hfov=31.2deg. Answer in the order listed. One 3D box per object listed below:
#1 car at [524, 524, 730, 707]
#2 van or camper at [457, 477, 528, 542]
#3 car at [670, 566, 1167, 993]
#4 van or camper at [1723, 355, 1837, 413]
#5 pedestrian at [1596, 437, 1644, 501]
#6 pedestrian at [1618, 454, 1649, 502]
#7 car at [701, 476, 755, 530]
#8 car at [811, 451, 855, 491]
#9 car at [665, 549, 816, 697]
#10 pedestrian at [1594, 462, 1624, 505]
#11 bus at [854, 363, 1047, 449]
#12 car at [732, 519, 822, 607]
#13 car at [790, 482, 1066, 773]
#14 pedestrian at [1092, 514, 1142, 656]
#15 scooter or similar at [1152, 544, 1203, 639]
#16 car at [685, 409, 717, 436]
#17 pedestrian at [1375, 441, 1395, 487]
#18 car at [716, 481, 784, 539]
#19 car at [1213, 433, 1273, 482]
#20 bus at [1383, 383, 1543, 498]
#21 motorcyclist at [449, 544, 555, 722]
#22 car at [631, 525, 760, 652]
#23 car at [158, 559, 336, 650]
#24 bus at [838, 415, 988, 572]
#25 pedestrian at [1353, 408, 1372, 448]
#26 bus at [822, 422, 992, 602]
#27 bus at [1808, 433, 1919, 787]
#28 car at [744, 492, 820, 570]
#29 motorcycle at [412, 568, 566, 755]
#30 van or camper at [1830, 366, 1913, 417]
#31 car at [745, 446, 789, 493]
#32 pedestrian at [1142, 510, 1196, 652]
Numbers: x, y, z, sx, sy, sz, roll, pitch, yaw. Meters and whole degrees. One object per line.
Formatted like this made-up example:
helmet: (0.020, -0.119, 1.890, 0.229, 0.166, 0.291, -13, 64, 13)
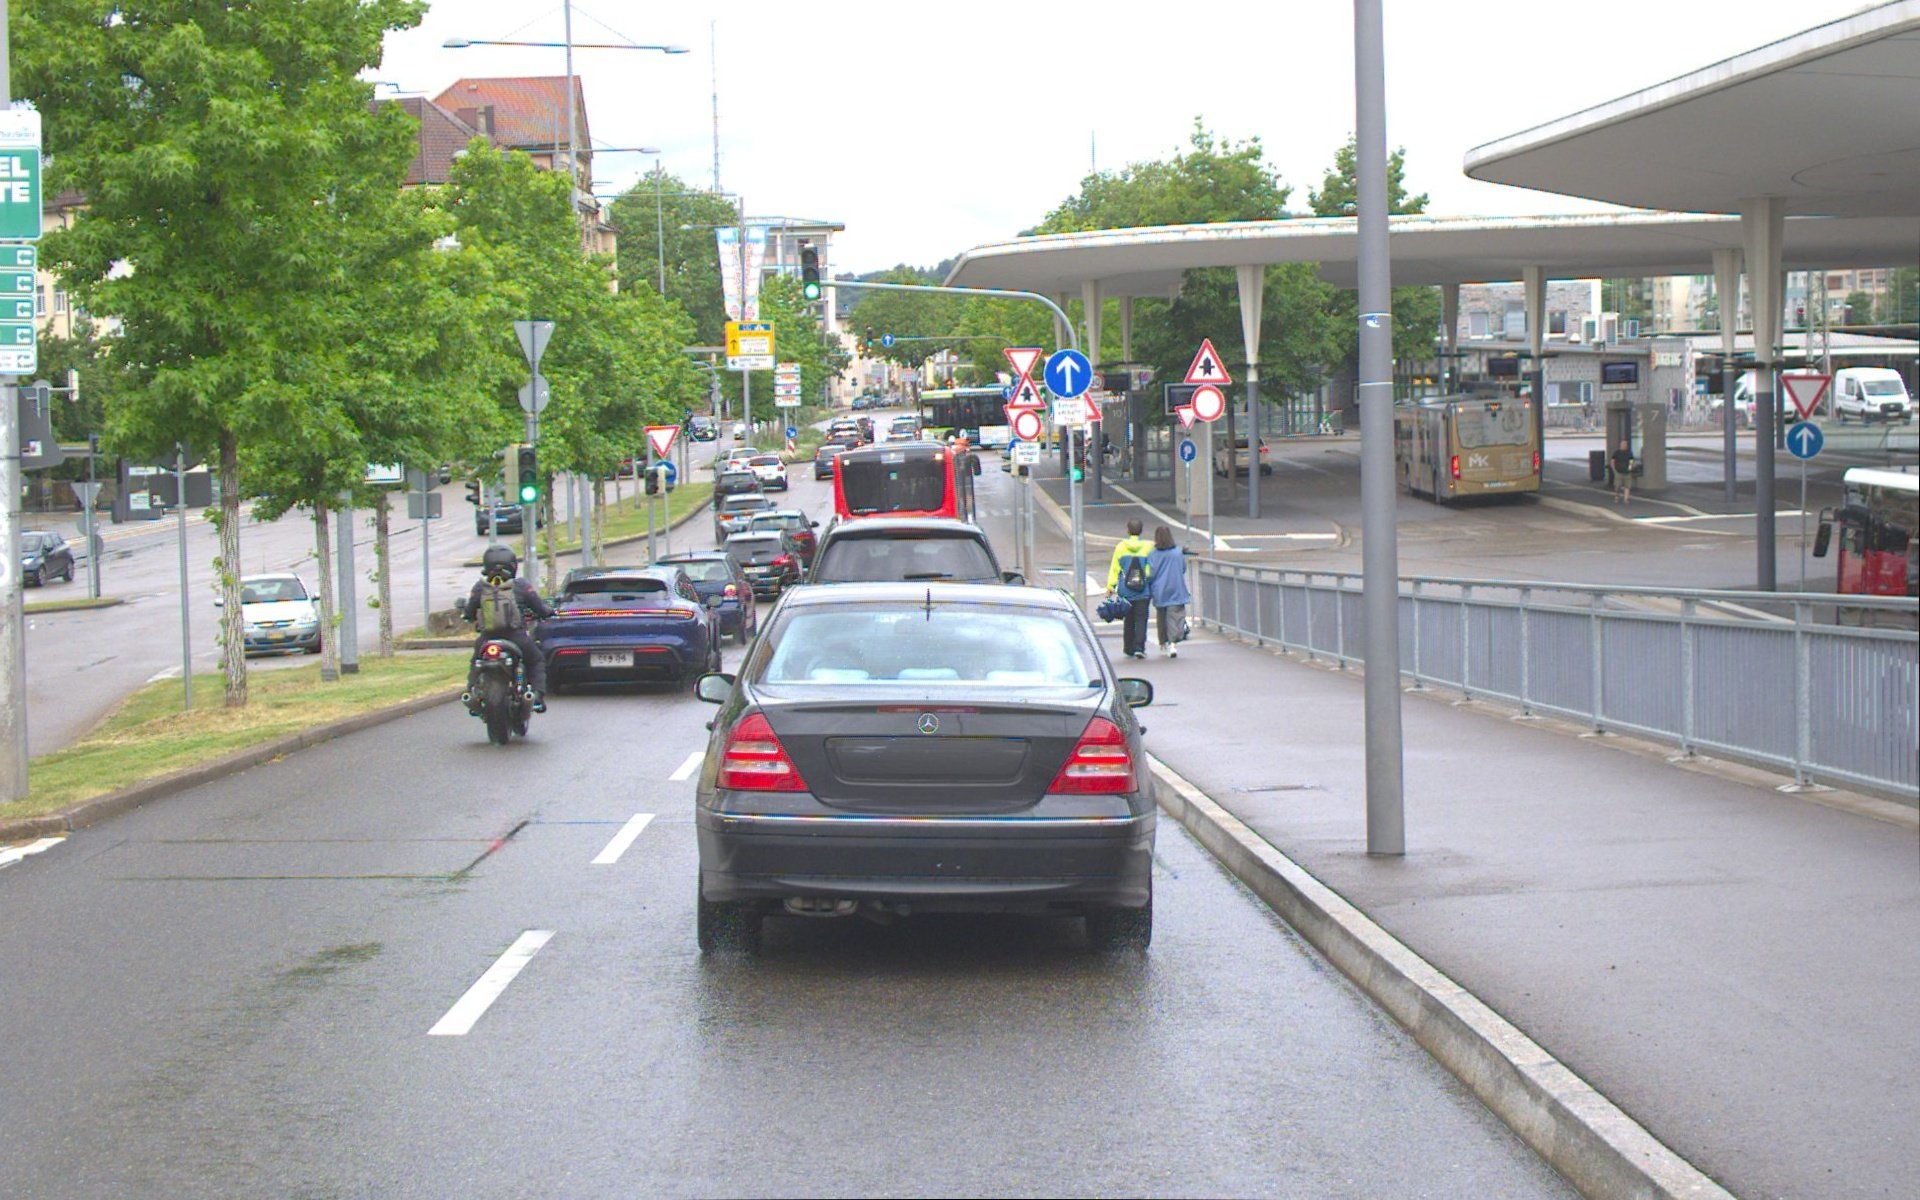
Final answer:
car: (-3.675, 0.118, 38.636, 1.816, 1.565, 4.405, -5, 4, -1)
van or camper: (-16.610, -3.192, 121.943, 2.216, 2.065, 5.285, -4, 1, -9)
car: (-0.185, 0.594, 13.912, 1.697, 1.457, 4.304, 0, 0, -1)
van or camper: (37.172, -9.783, 155.971, 4.607, 2.549, 2.119, 0, 2, -2)
pedestrian: (17.888, -3.552, 93.147, 0.717, 1.678, 1.021, -6, 4, -26)
pedestrian: (19.835, -3.592, 101.295, 0.793, 1.373, 0.633, -2, 4, 17)
car: (-8.556, -3.578, 126.984, 1.797, 1.900, 3.640, 1, 0, -1)
car: (-5.579, -5.638, 151.018, 1.865, 1.678, 4.000, 1, 1, -1)
car: (-2.947, 0.272, 46.855, 1.741, 1.561, 3.872, -5, 4, -1)
pedestrian: (19.521, -3.509, 103.431, 0.793, 1.222, 0.633, -2, 4, 17)
bus: (-0.588, -9.907, 176.288, 2.839, 3.973, 11.859, -6, 5, -39)
car: (-3.838, -0.803, 72.492, 1.575, 1.499, 3.872, -5, 4, 0)
car: (-0.281, 0.130, 28.626, 1.957, 1.869, 4.875, -5, 4, -1)
pedestrian: (1.857, -0.182, 40.776, 0.522, 1.664, 0.580, -1, 1, -1)
scooter or similar: (2.902, -0.118, 45.898, 0.463, 1.217, 1.859, -3, 1, -1)
car: (-16.997, -11.666, 225.981, 1.780, 1.561, 3.431, -5, 4, -1)
pedestrian: (15.969, -5.106, 129.164, 0.560, 1.686, 0.614, -2, 4, -7)
car: (-6.278, -2.702, 103.171, 1.865, 1.678, 4.000, 1, 1, -1)
car: (10.574, -5.343, 128.549, 1.711, 1.656, 4.241, -2, 4, -2)
bus: (15.048, -4.920, 103.811, 2.721, 3.032, 12.092, -3, 4, -1)
motorcyclist: (-3.666, 0.258, 27.548, 0.641, 1.342, 0.689, -3, 4, 3)
car: (-4.174, -0.212, 54.665, 1.676, 1.617, 3.872, -5, 4, -1)
car: (-12.674, 0.067, 60.972, 1.632, 1.443, 3.876, -6, 3, -34)
bus: (-1.099, -2.709, 84.325, 3.291, 3.277, 8.851, -3, 4, 0)
pedestrian: (16.355, -6.994, 139.735, 0.580, 1.573, 0.560, 1, 0, 29)
bus: (-1.099, -2.073, 75.738, 3.286, 3.280, 10.880, -3, 4, 0)
bus: (11.010, 0.380, 31.872, 2.844, 3.349, 12.430, 1, 5, -1)
car: (-4.292, -1.686, 83.225, 1.575, 1.561, 3.872, -5, 4, -1)
motorcycle: (-3.718, 0.467, 27.286, 0.793, 1.257, 1.855, -4, 4, 3)
van or camper: (39.553, -9.038, 149.310, 1.993, 2.095, 5.481, 0, 2, -1)
car: (-7.898, -5.355, 141.021, 1.642, 1.798, 3.640, 1, 0, -1)
pedestrian: (2.473, -0.226, 40.670, 0.589, 1.665, 0.580, 0, -1, -1)
